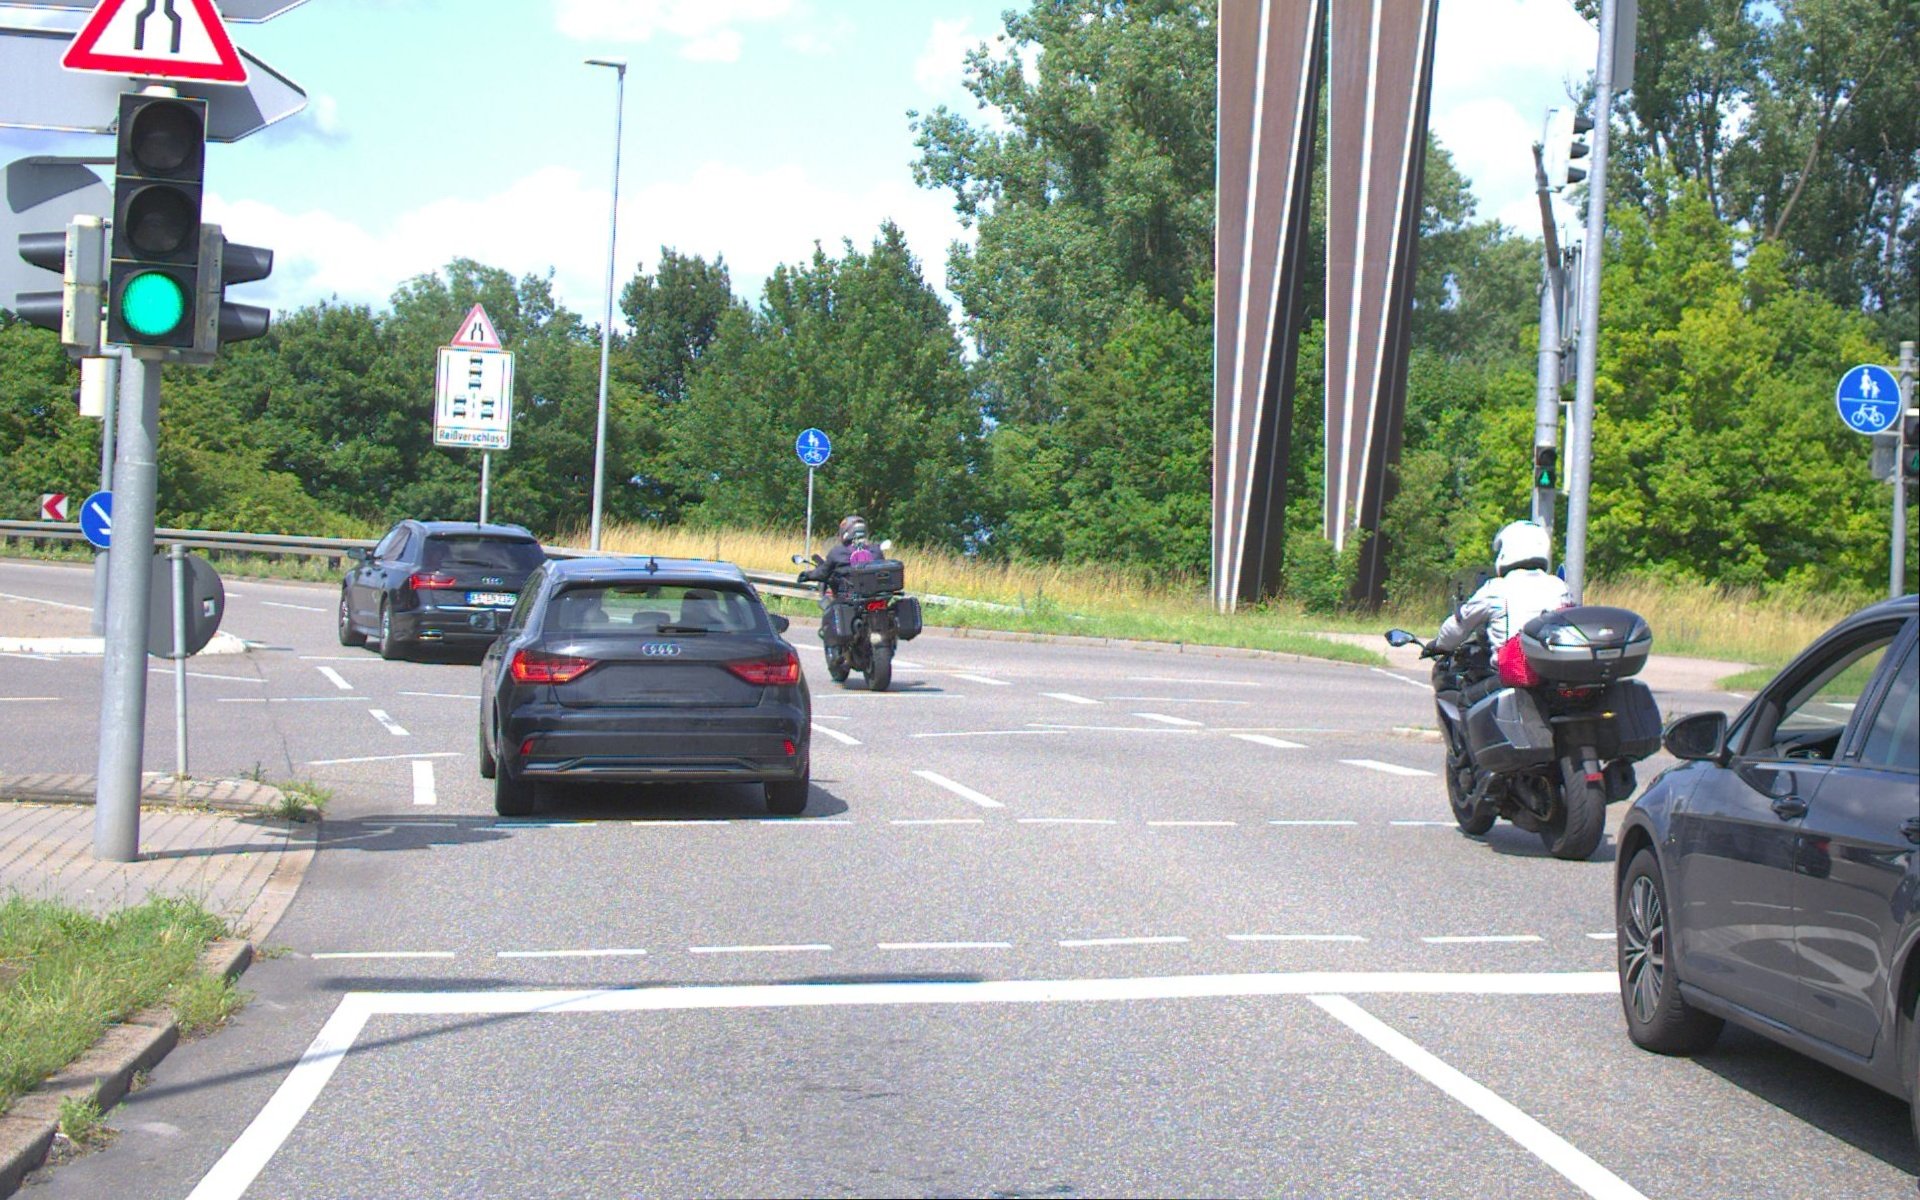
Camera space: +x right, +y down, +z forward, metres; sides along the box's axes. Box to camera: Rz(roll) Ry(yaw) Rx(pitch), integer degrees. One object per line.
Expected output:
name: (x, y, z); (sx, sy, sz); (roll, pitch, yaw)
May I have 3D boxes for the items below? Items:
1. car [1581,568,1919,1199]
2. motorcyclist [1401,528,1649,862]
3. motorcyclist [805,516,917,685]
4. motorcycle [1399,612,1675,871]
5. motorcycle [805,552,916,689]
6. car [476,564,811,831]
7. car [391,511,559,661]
car: (2.912, 0.690, 8.881); (1.642, 1.474, 3.873); (2, 1, -4)
motorcyclist: (2.863, 0.463, 17.536); (0.966, 1.615, 1.125); (2, 1, -3)
motorcyclist: (-0.977, -0.003, 33.557); (0.966, 1.590, 1.125); (2, 1, -5)
motorcycle: (2.863, 0.671, 17.328); (0.789, 1.128, 2.400); (2, 1, -4)
motorcycle: (-0.990, 0.175, 33.575); (0.887, 1.243, 2.400); (2, 1, -5)
car: (-1.925, 0.499, 19.986); (1.681, 1.383, 3.740); (1, 1, -9)
car: (-5.169, -0.172, 36.661); (1.642, 1.474, 3.873); (2, 1, -8)
